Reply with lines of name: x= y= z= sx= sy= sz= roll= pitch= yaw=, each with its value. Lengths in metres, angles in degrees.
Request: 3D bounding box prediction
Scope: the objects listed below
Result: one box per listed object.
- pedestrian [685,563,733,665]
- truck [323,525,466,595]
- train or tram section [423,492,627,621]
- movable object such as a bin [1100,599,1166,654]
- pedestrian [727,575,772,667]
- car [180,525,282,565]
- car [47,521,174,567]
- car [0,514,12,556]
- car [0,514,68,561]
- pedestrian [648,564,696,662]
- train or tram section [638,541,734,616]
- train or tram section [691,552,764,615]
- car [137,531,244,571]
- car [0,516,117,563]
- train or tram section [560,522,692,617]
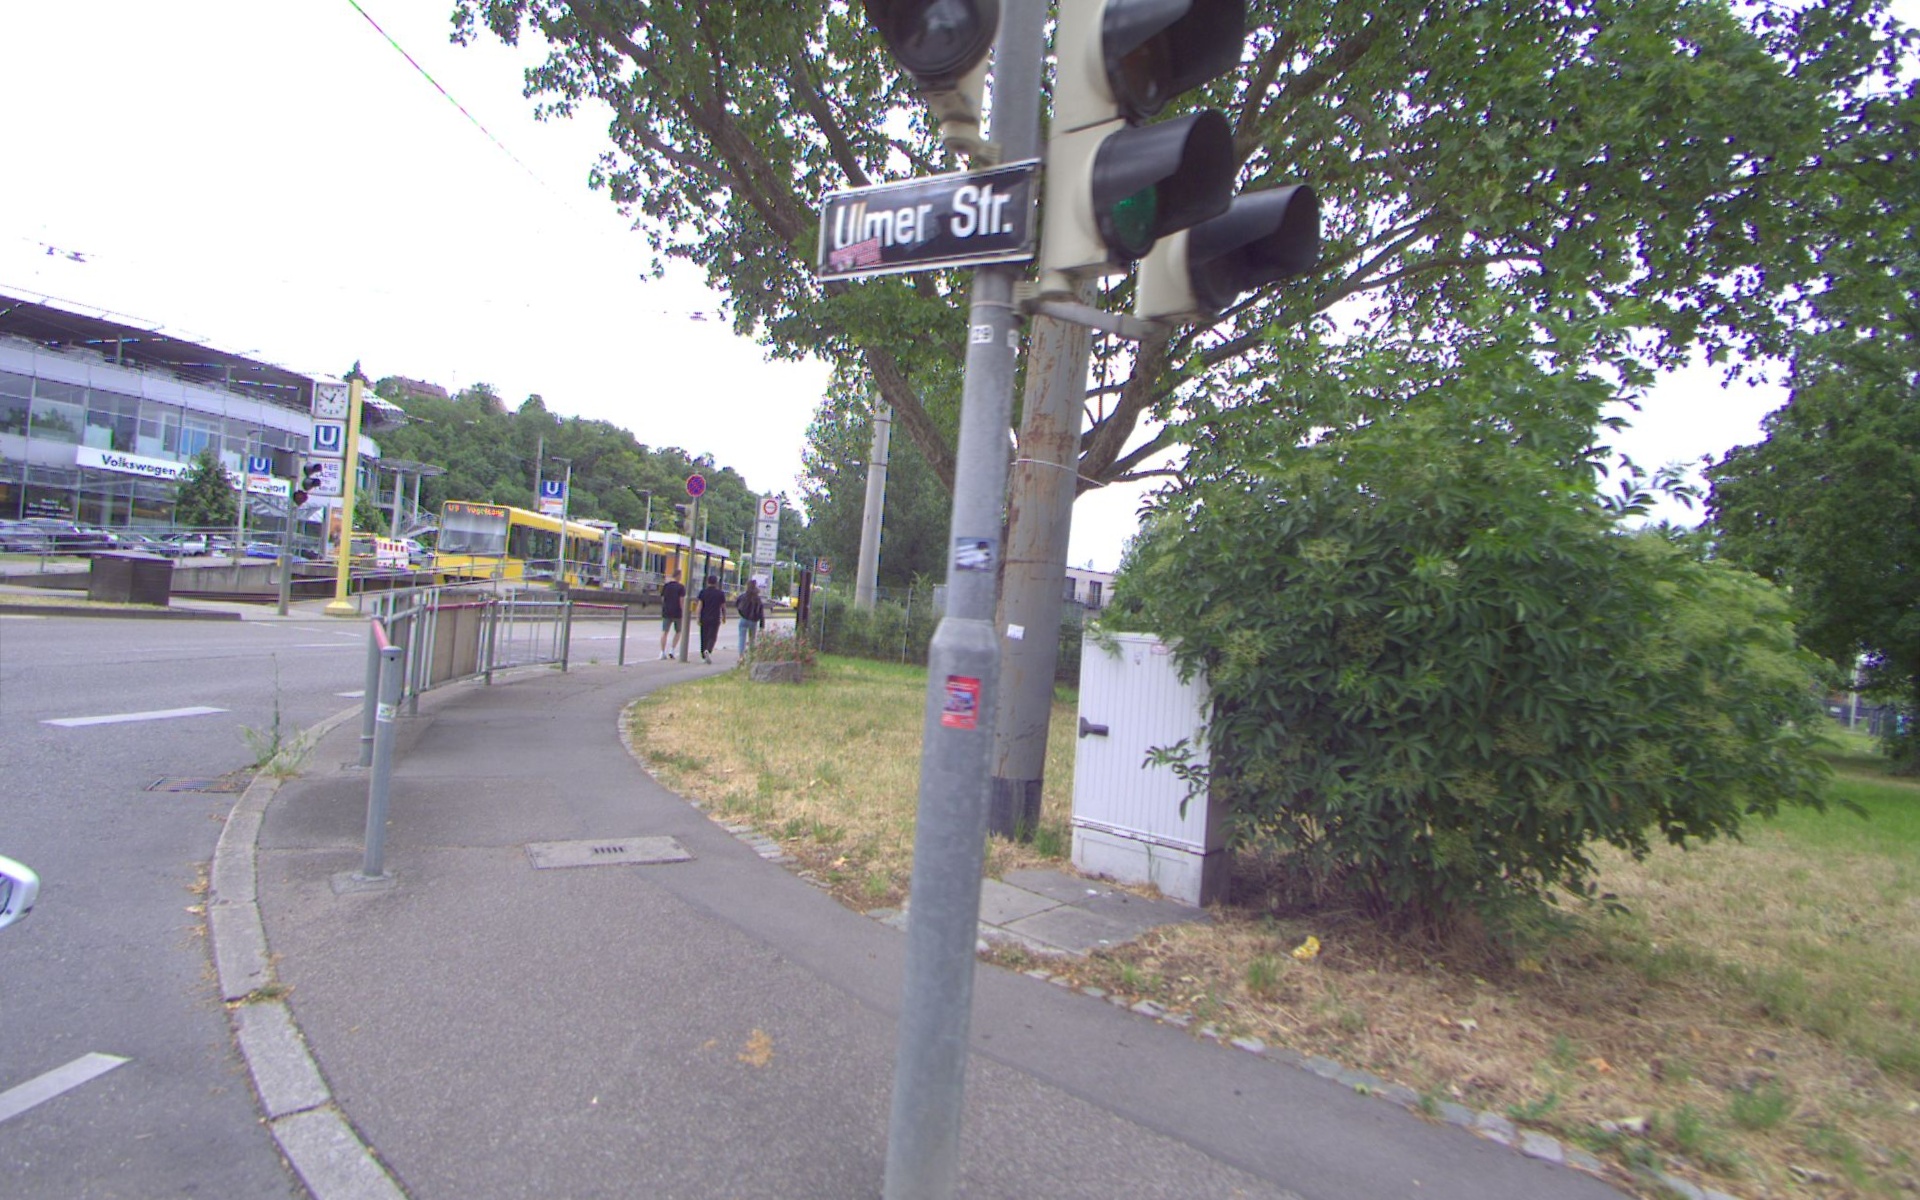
pedestrian: x=-4.842 y=0.283 z=19.451 sx=0.593 sy=1.890 sz=0.672 roll=5 pitch=-1 yaw=0
truck: x=-31.465 y=-2.082 z=56.548 sx=2.652 sy=3.115 sz=9.010 roll=5 pitch=-1 yaw=1
train or tram section: x=-16.383 y=-1.417 z=39.256 sx=2.698 sy=4.016 sz=11.908 roll=5 pitch=0 yaw=-1
movable object such as a bin: x=8.087 y=1.278 z=46.675 sx=1.964 sy=2.035 sz=4.299 roll=3 pitch=-5 yaw=23
pedestrian: x=-4.097 y=0.429 z=19.620 sx=0.593 sy=1.708 sz=0.673 roll=5 pitch=-3 yaw=0
car: x=-38.874 y=-2.924 z=53.700 sx=3.924 sy=1.571 sz=1.931 roll=5 pitch=-4 yaw=3
car: x=-38.526 y=-2.532 z=45.702 sx=3.928 sy=1.574 sz=1.925 roll=6 pitch=1 yaw=-6
car: x=-39.338 y=-2.788 z=38.597 sx=3.928 sy=1.571 sz=1.731 roll=6 pitch=-4 yaw=-6
car: x=-39.197 y=-2.663 z=40.821 sx=3.928 sy=1.571 sz=1.929 roll=6 pitch=-4 yaw=-6
pedestrian: x=-5.815 y=0.279 z=20.345 sx=0.593 sy=1.887 sz=0.673 roll=5 pitch=-3 yaw=0
train or tram section: x=-16.900 y=-1.184 z=63.125 sx=2.698 sy=4.016 sz=11.908 roll=5 pitch=0 yaw=-1
train or tram section: x=-17.171 y=-1.149 z=74.995 sx=2.926 sy=4.116 sz=10.193 roll=5 pitch=0 yaw=-1
car: x=-38.898 y=-2.481 z=50.929 sx=3.924 sy=1.574 sz=1.927 roll=5 pitch=0 yaw=3
car: x=-39.146 y=-2.620 z=43.244 sx=3.928 sy=1.573 sz=1.925 roll=6 pitch=0 yaw=-6
train or tram section: x=-16.624 y=-1.346 z=51.218 sx=2.698 sy=4.016 sz=11.908 roll=5 pitch=0 yaw=-1
